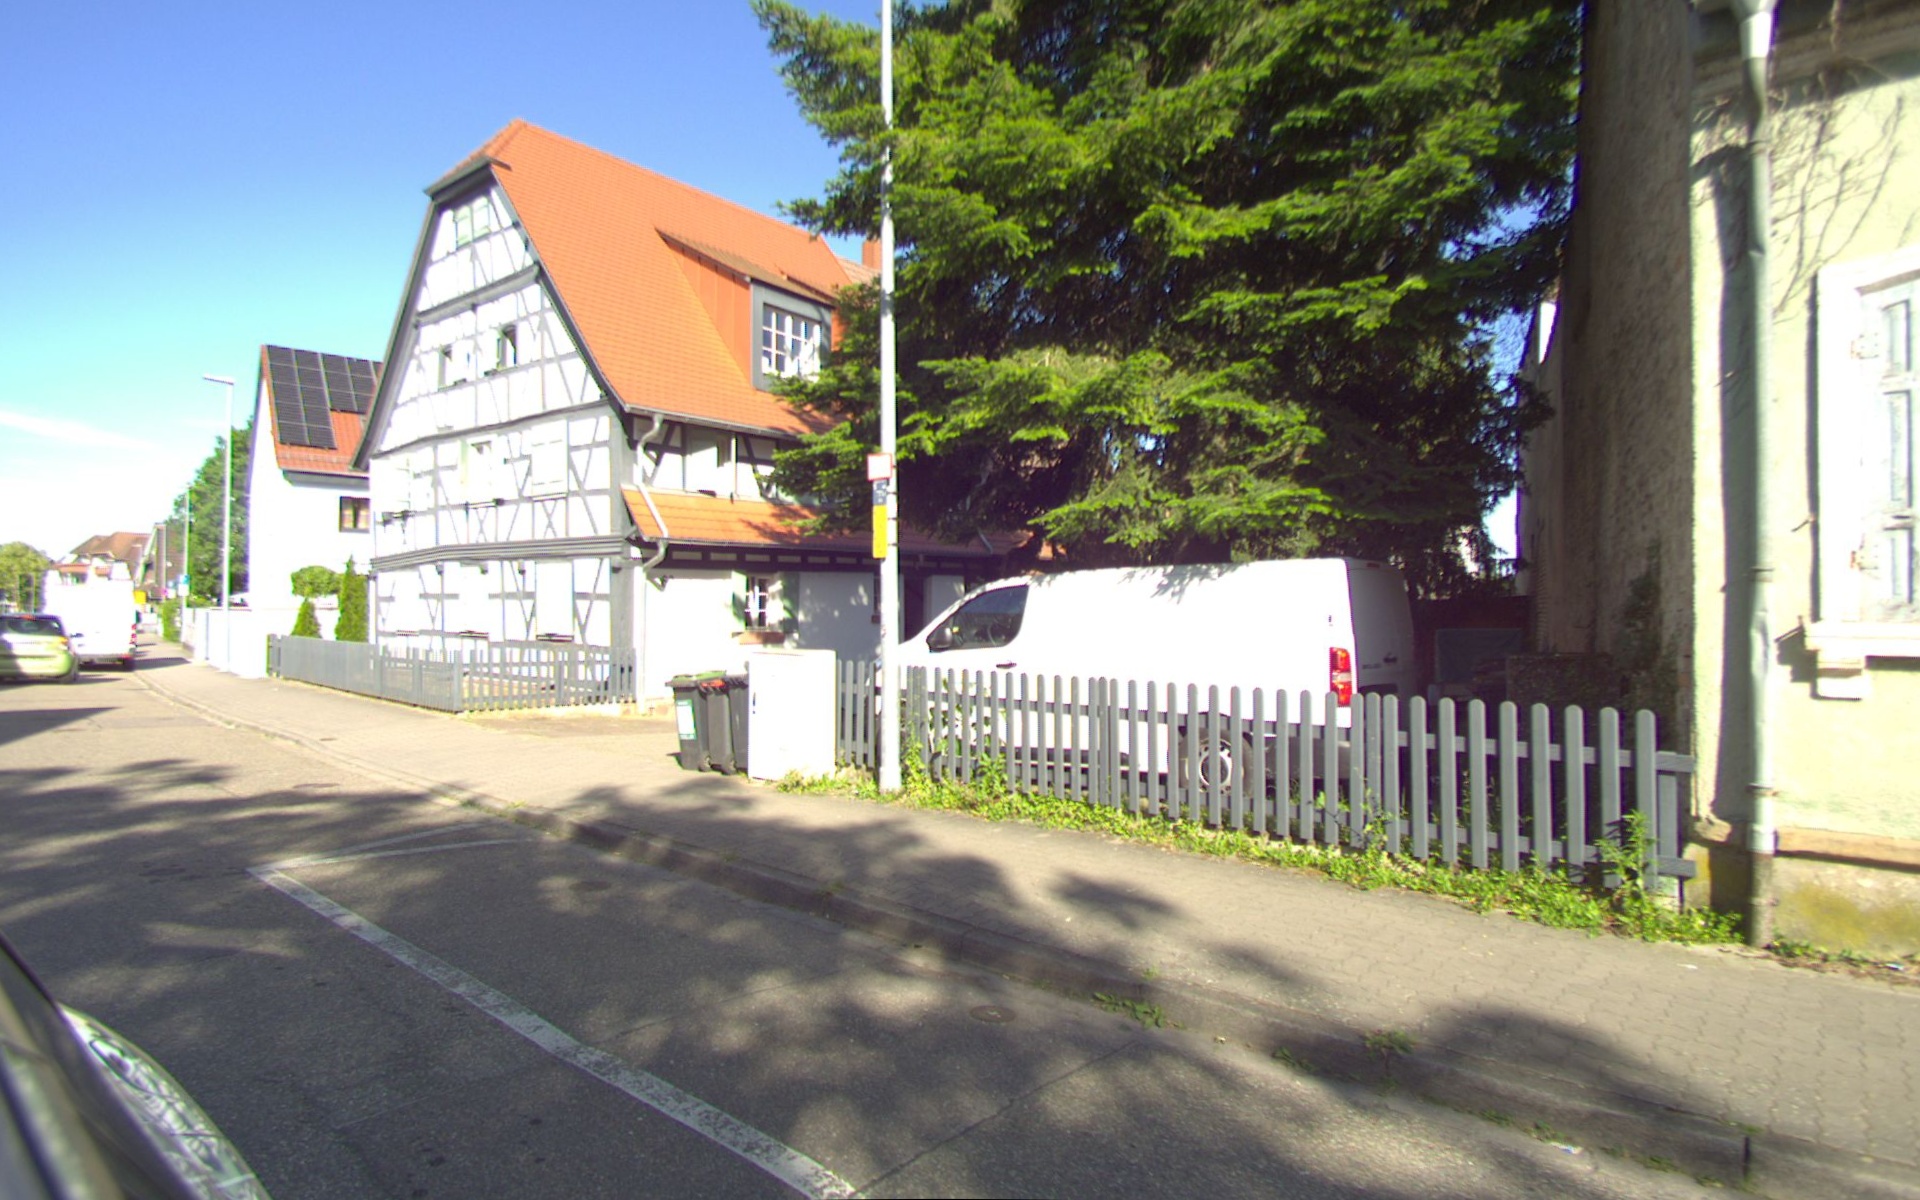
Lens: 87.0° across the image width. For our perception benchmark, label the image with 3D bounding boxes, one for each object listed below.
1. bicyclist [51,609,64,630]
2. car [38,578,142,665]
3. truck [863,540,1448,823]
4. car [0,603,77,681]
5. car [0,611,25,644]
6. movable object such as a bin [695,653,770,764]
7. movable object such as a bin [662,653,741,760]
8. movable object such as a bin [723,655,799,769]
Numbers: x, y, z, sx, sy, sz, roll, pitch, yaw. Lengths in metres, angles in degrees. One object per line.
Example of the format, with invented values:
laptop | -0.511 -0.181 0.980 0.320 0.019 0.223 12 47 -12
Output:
bicyclist | -57.191 1.220 64.116 0.574 1.330 0.609 3 -3 -42
car | -24.653 0.612 28.740 2.029 2.263 4.867 3 -2 -41
truck | 1.498 0.549 8.972 4.749 1.862 1.973 -1 0 41
car | -21.018 0.897 22.596 1.865 1.602 4.006 2 -2 -40
car | -45.545 1.262 47.748 1.780 1.489 4.352 2 -1 -39
movable object such as a bin | -2.114 0.992 9.413 0.429 0.954 0.519 -1 0 35
movable object such as a bin | -2.476 1.007 9.719 0.518 0.954 0.519 -1 0 35
movable object such as a bin | -1.790 0.987 9.113 0.429 0.954 0.519 -1 0 35
